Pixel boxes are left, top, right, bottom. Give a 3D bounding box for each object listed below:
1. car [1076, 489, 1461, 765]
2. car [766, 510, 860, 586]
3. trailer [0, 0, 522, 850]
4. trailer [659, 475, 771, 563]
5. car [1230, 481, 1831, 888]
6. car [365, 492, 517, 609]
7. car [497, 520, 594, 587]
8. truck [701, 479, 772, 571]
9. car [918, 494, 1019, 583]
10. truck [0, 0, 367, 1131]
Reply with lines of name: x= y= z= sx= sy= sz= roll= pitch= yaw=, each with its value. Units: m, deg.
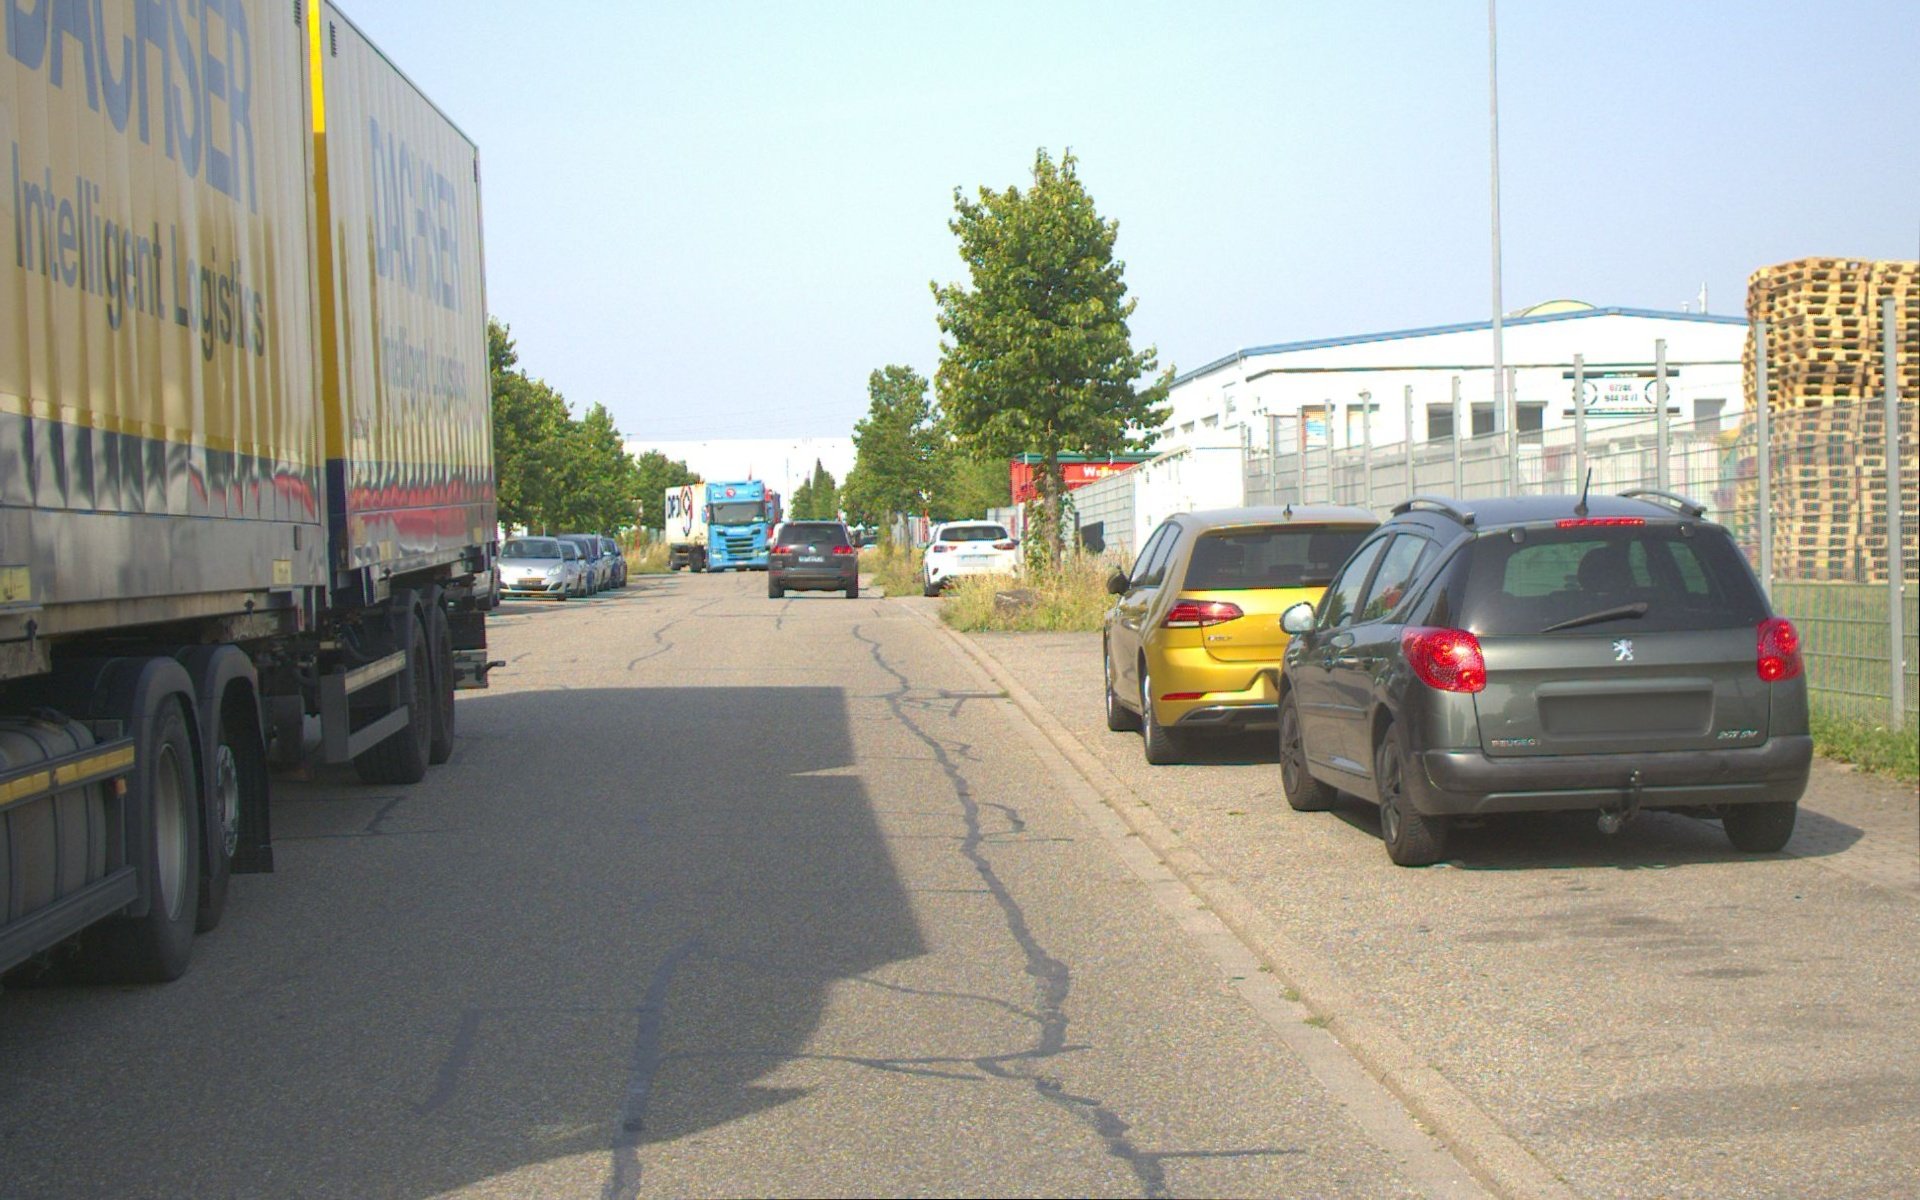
car: x=1.784 y=0.097 z=21.148 sx=1.714 sy=1.450 sz=4.188 roll=-3 pitch=2 yaw=-3
car: x=-3.157 y=-1.129 z=74.348 sx=1.880 sy=1.581 sz=4.114 roll=-1 pitch=1 yaw=-1
trailer: x=-4.199 y=-1.066 z=19.651 sx=2.498 sy=4.131 sz=8.498 roll=-2 pitch=1 yaw=-3
trailer: x=-10.941 y=-3.573 z=152.321 sx=2.878 sy=3.748 sz=12.083 roll=-1 pitch=1 yaw=-14
car: x=2.394 y=0.282 z=15.445 sx=1.714 sy=1.510 sz=4.005 roll=-3 pitch=2 yaw=-4
car: x=-8.109 y=-0.801 z=53.999 sx=1.833 sy=1.756 sz=4.050 roll=1 pitch=1 yaw=-1
car: x=-9.472 y=-1.083 z=78.781 sx=1.806 sy=1.491 sz=3.936 roll=0 pitch=1 yaw=-1
truck: x=-9.370 y=-3.152 z=143.936 sx=2.878 sy=3.748 sz=6.085 roll=0 pitch=1 yaw=-4
car: x=0.139 y=-1.205 z=66.763 sx=1.714 sy=1.674 sz=3.950 roll=0 pitch=1 yaw=-3
truck: x=-3.766 y=-0.756 z=10.180 sx=2.498 sy=4.131 sz=10.381 roll=-2 pitch=2 yaw=-3
